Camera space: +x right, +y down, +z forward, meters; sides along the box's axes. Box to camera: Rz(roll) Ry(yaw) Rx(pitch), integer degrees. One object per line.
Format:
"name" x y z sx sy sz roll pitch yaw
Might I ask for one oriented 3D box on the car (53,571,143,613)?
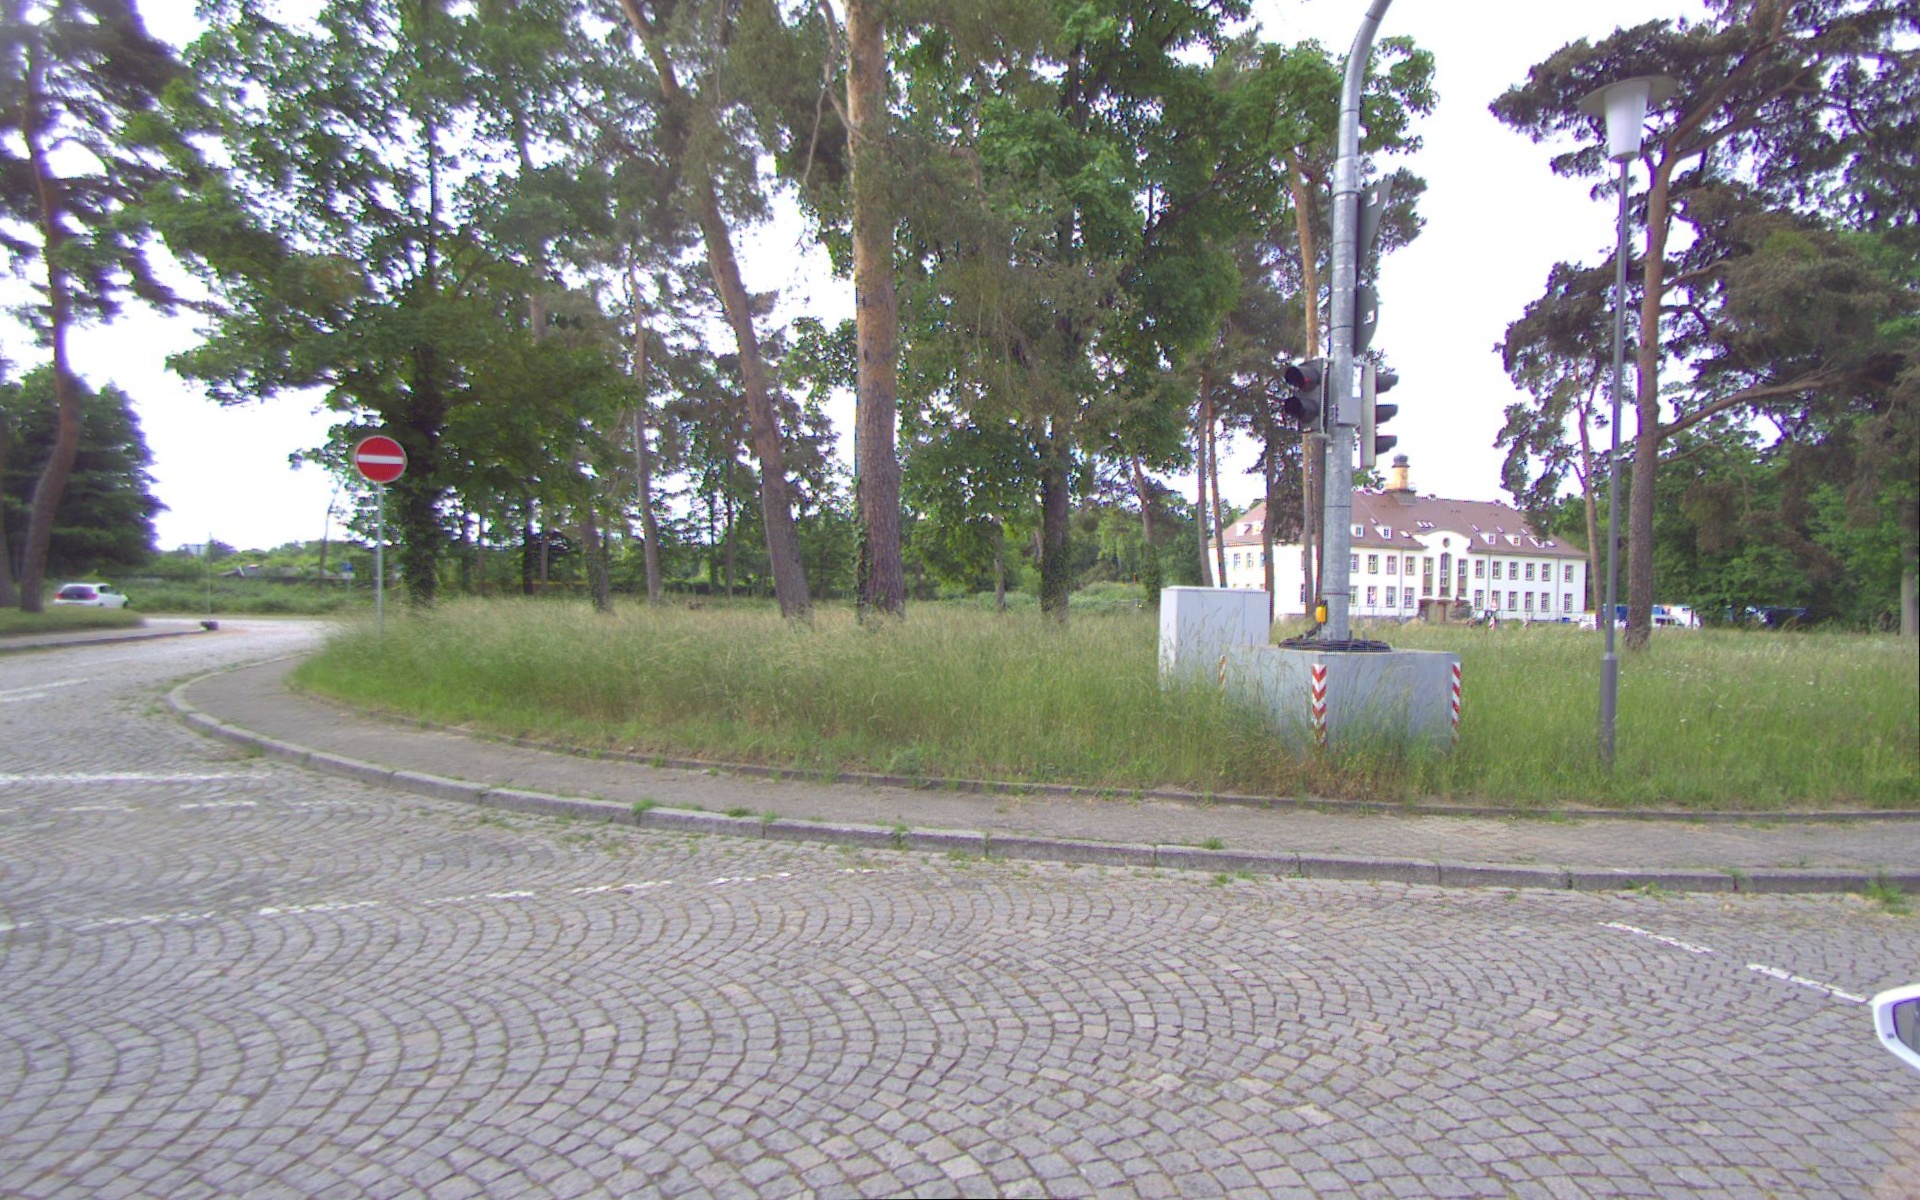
"car" -39.736 -0.351 46.430 1.695 1.831 3.984 1 0 -17

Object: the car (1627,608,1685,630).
"car" 69.044 1.894 99.681 5.148 2.040 1.992 2 0 -18
